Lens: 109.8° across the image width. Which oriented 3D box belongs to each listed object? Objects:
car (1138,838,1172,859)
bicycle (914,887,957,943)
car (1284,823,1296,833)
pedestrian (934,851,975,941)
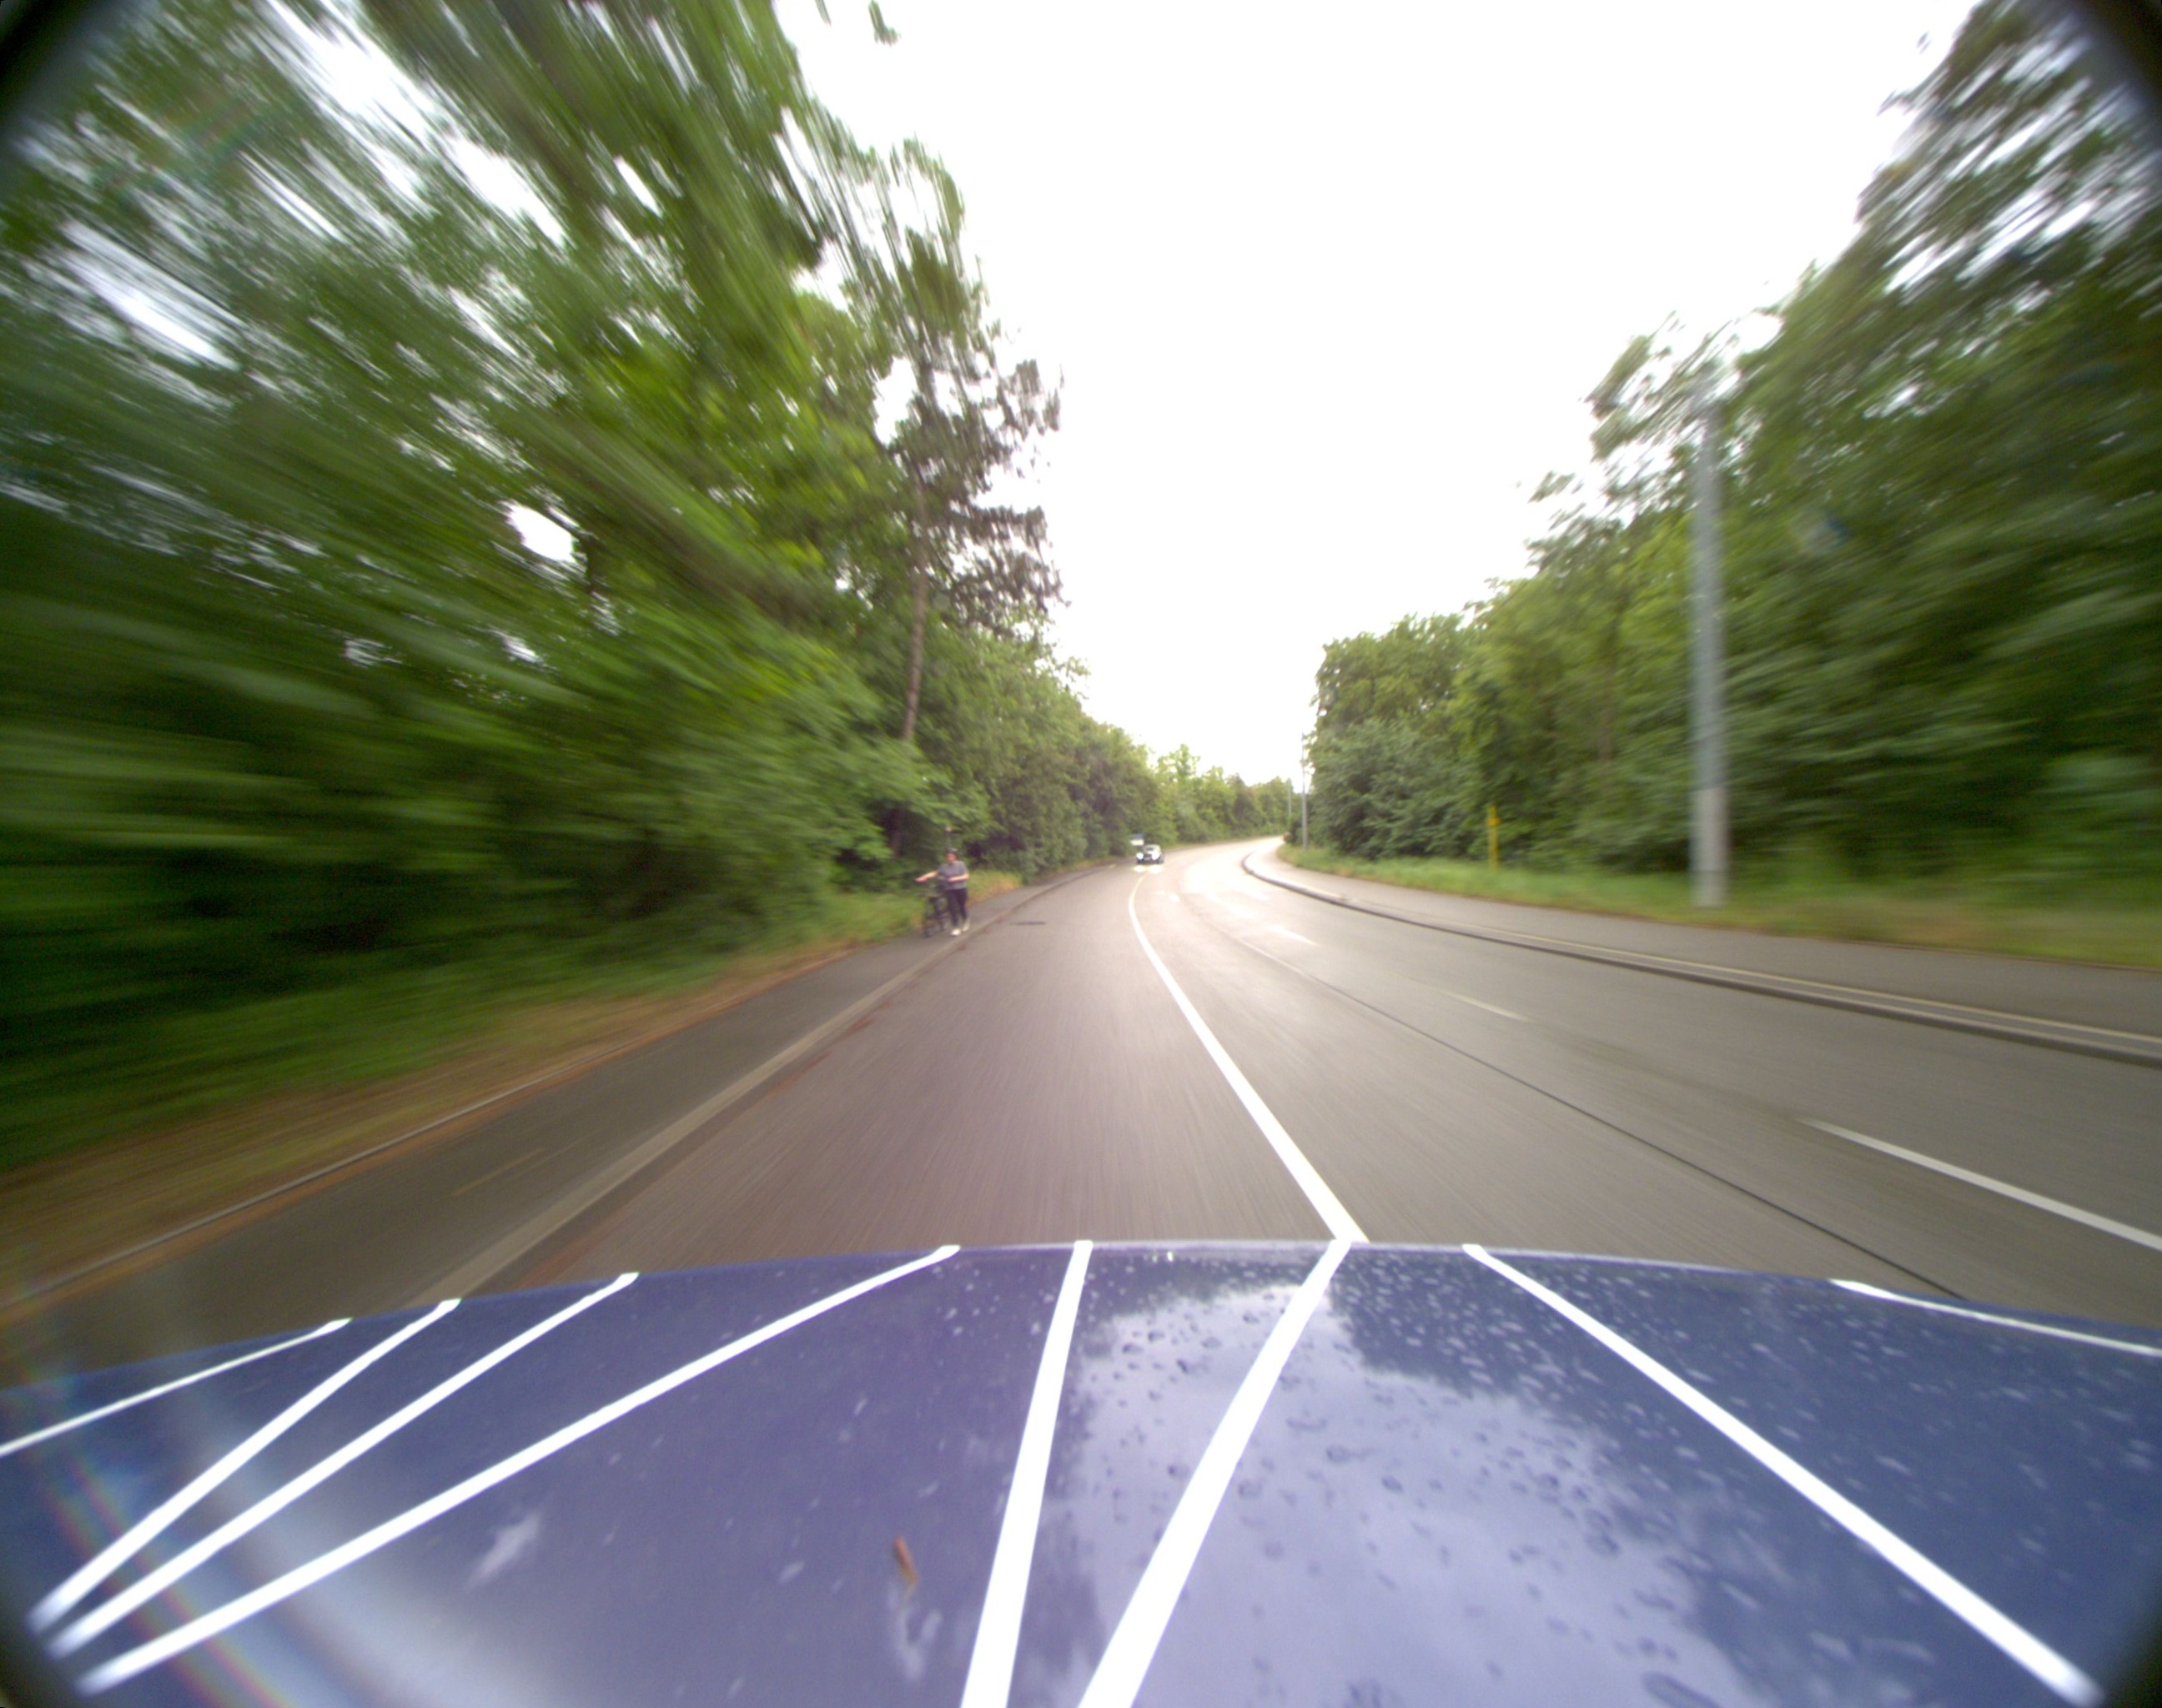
[{"bbox_3d":[5.906,-0.442,60.343,1.829,1.512,4.005,4,2,18],"label":"car"},{"bbox_3d":[-2.686,1.107,14.161,0.356,0.844,1.743,2,1,3],"label":"bicycle"},{"bbox_3d":[34.488,-4.260,125.396,1.829,1.432,4.006,0,0,18],"label":"car"},{"bbox_3d":[-2.310,0.756,13.989,0.565,1.569,0.769,0,4,3],"label":"pedestrian"}]
